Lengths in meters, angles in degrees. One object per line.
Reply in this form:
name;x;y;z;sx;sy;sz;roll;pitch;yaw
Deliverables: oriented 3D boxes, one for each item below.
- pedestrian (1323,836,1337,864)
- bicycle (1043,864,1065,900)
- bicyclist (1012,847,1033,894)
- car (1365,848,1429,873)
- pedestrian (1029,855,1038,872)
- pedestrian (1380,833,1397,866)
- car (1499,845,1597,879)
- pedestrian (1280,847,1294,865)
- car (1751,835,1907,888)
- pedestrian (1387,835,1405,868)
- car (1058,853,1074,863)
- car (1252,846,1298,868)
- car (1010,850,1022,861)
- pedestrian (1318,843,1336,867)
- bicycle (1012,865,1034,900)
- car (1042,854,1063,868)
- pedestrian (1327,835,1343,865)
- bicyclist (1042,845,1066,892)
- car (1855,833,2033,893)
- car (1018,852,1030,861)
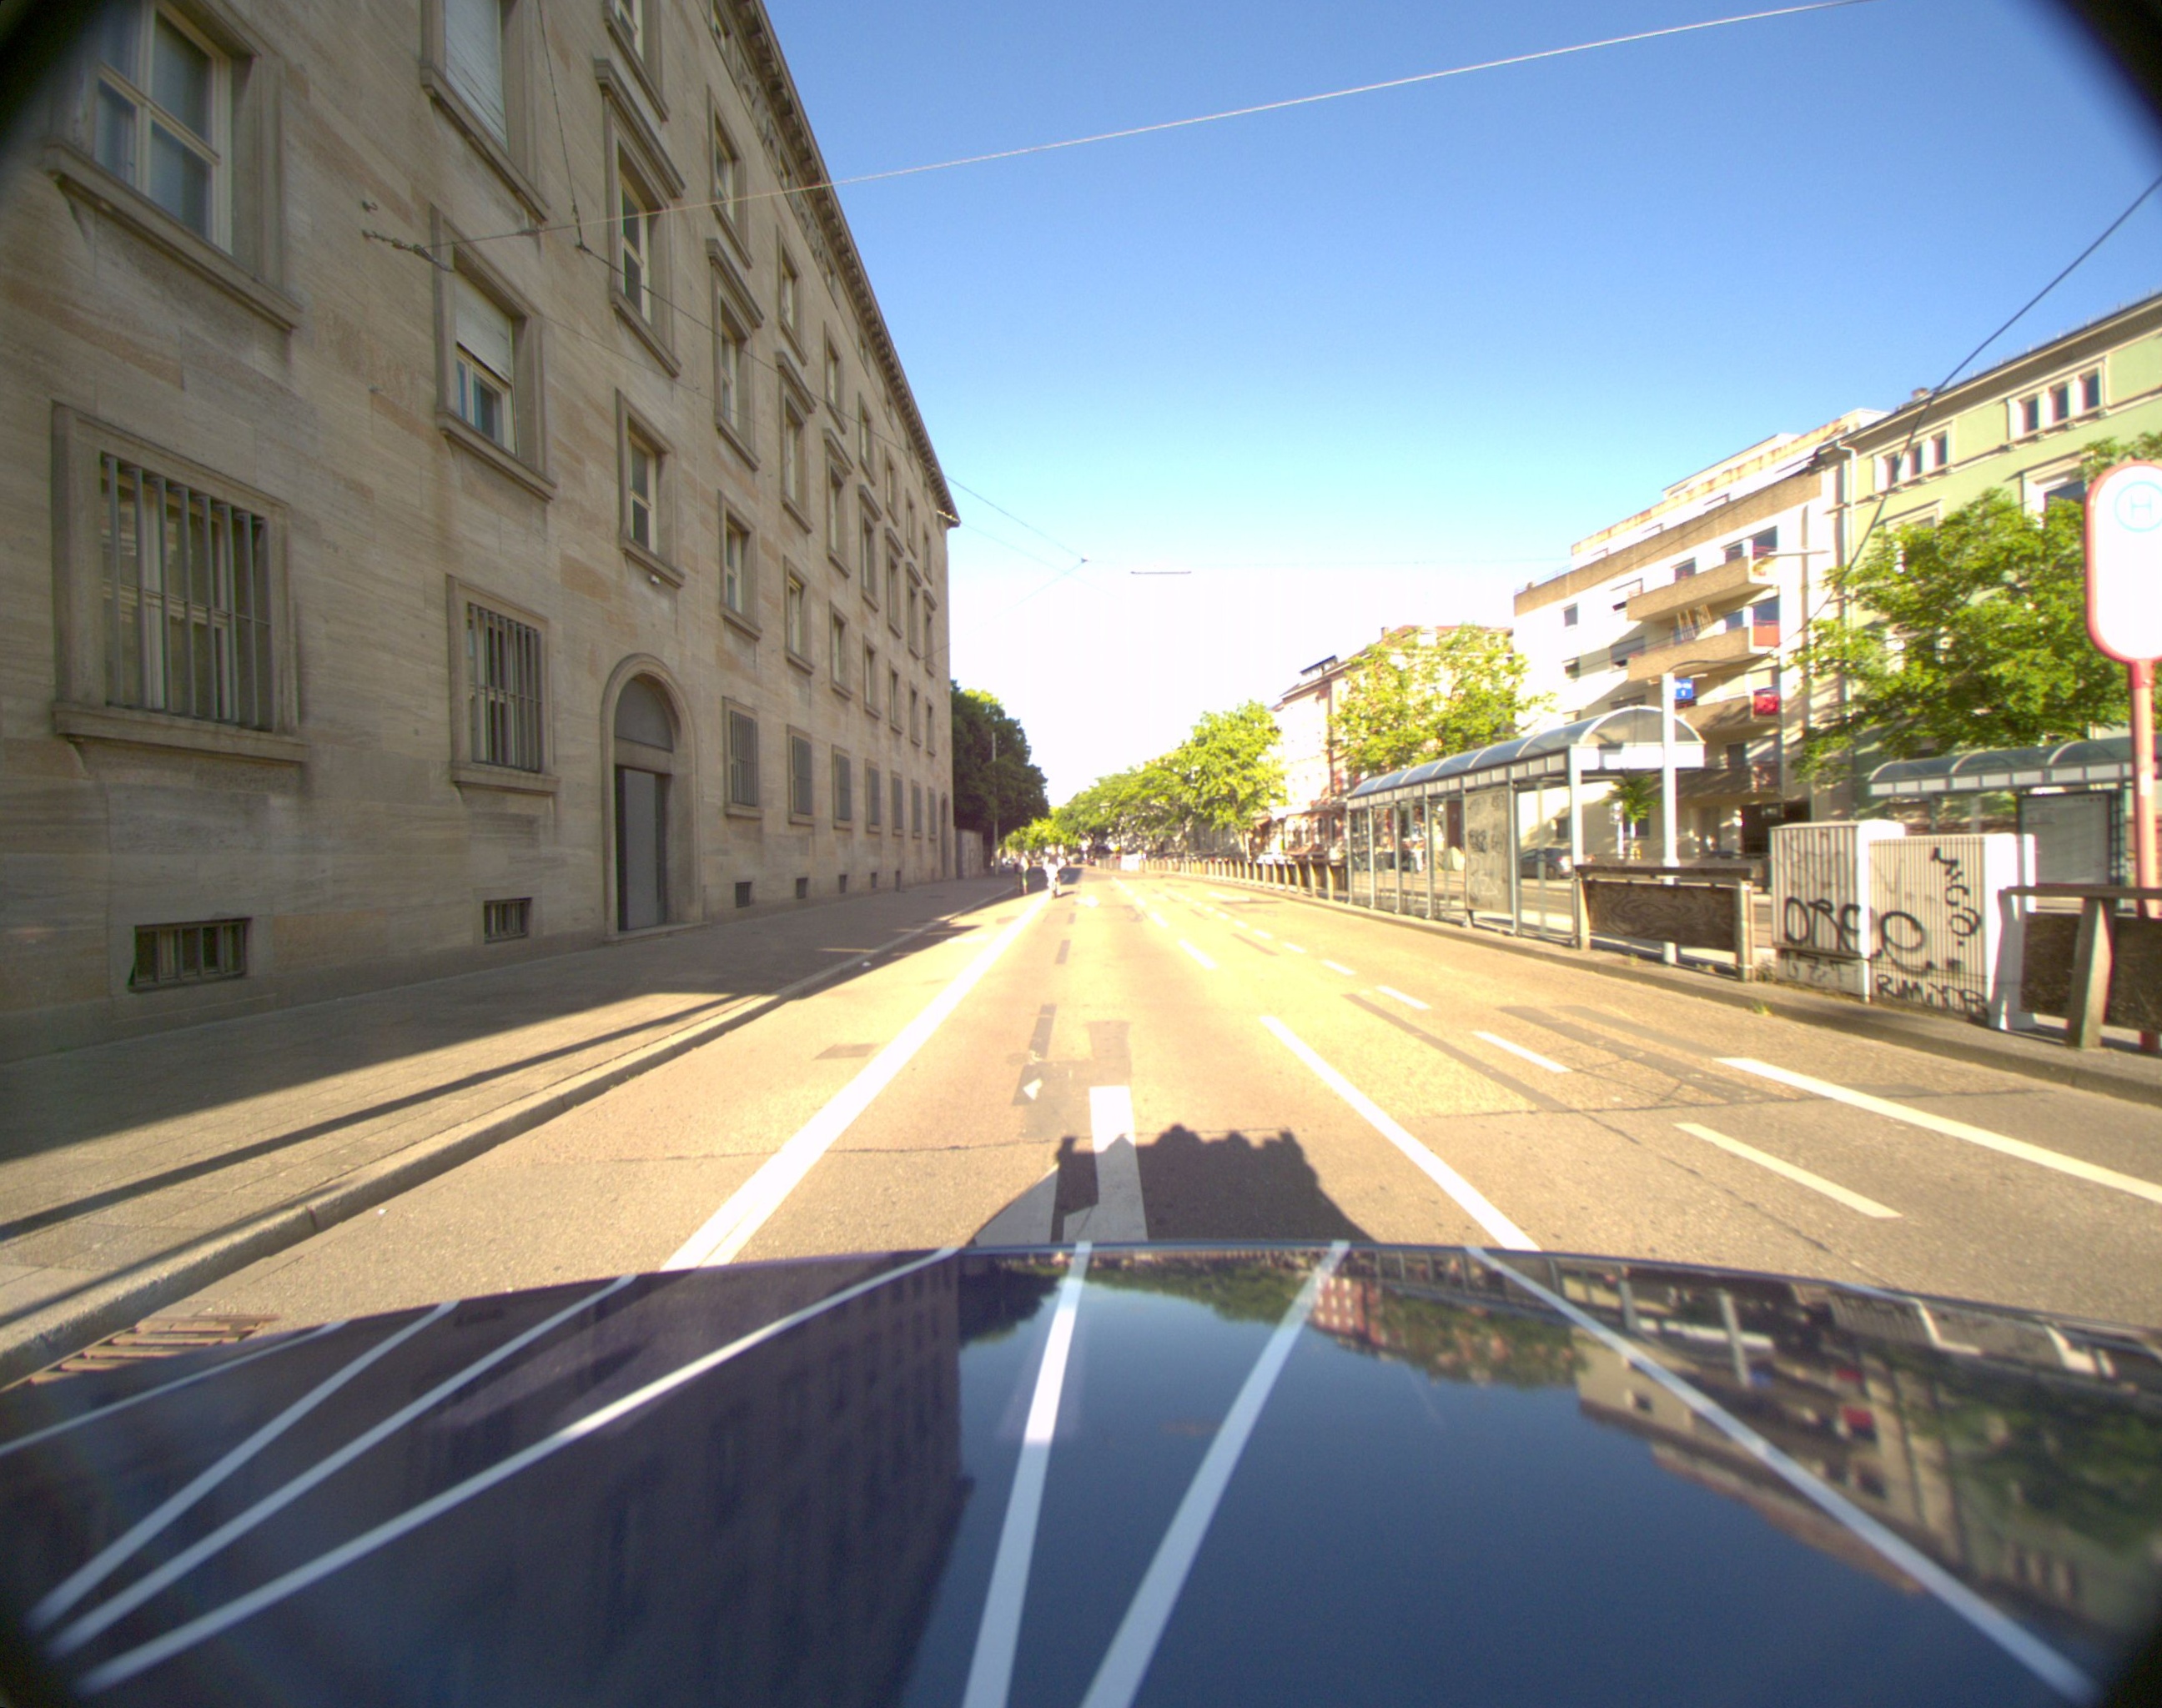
pedestrian;19.430;-0.319;59.229;0.812;2.194;0.756;-1;1;-4
bicycle;-0.919;0.974;26.561;0.625;1.167;1.566;-3;0;1
bicyclist;-2.234;0.617;29.017;0.625;1.729;0.688;-3;1;1
car;18.494;0.350;44.681;1.609;1.388;3.997;-1;0;-9
pedestrian;-3.677;0.733;58.847;0.548;1.327;0.587;-1;1;7
pedestrian;21.151;-0.308;52.293;0.813;2.194;0.756;-1;1;-10
car;20.883;0.346;34.175;1.654;1.419;3.737;-1;0;-11
pedestrian;18.146;0.182;67.039;0.869;1.619;0.890;-1;1;-15
car;24.008;0.226;24.415;4.002;1.573;1.761;-1;0;-14
pedestrian;21.298;-0.182;51.381;0.813;2.194;0.756;-1;1;-10
car;-2.351;0.585;119.937;1.648;1.480;3.995;-2;1;-12
car;16.239;0.249;63.558;4.134;1.698;1.848;-1;1;-45
car;-13.018;0.303;151.513;2.000;2.002;3.996;-1;0;-10
pedestrian;17.888;0.074;55.278;0.855;1.710;1.019;-1;1;-8
bicycle;-2.214;1.066;28.960;0.625;1.214;1.659;-3;1;1
car;-3.063;0.739;81.170;1.772;1.429;3.831;-1;0;-9
pedestrian;19.286;-0.296;57.679;0.813;2.194;0.756;-1;1;-10
bicyclist;-0.940;0.509;26.513;0.728;1.570;0.775;-3;1;1
car;24.807;0.223;21.874;4.002;1.573;1.761;-1;0;-14
car;-11.927;0.545;159.211;2.001;1.789;3.995;-1;0;-13
